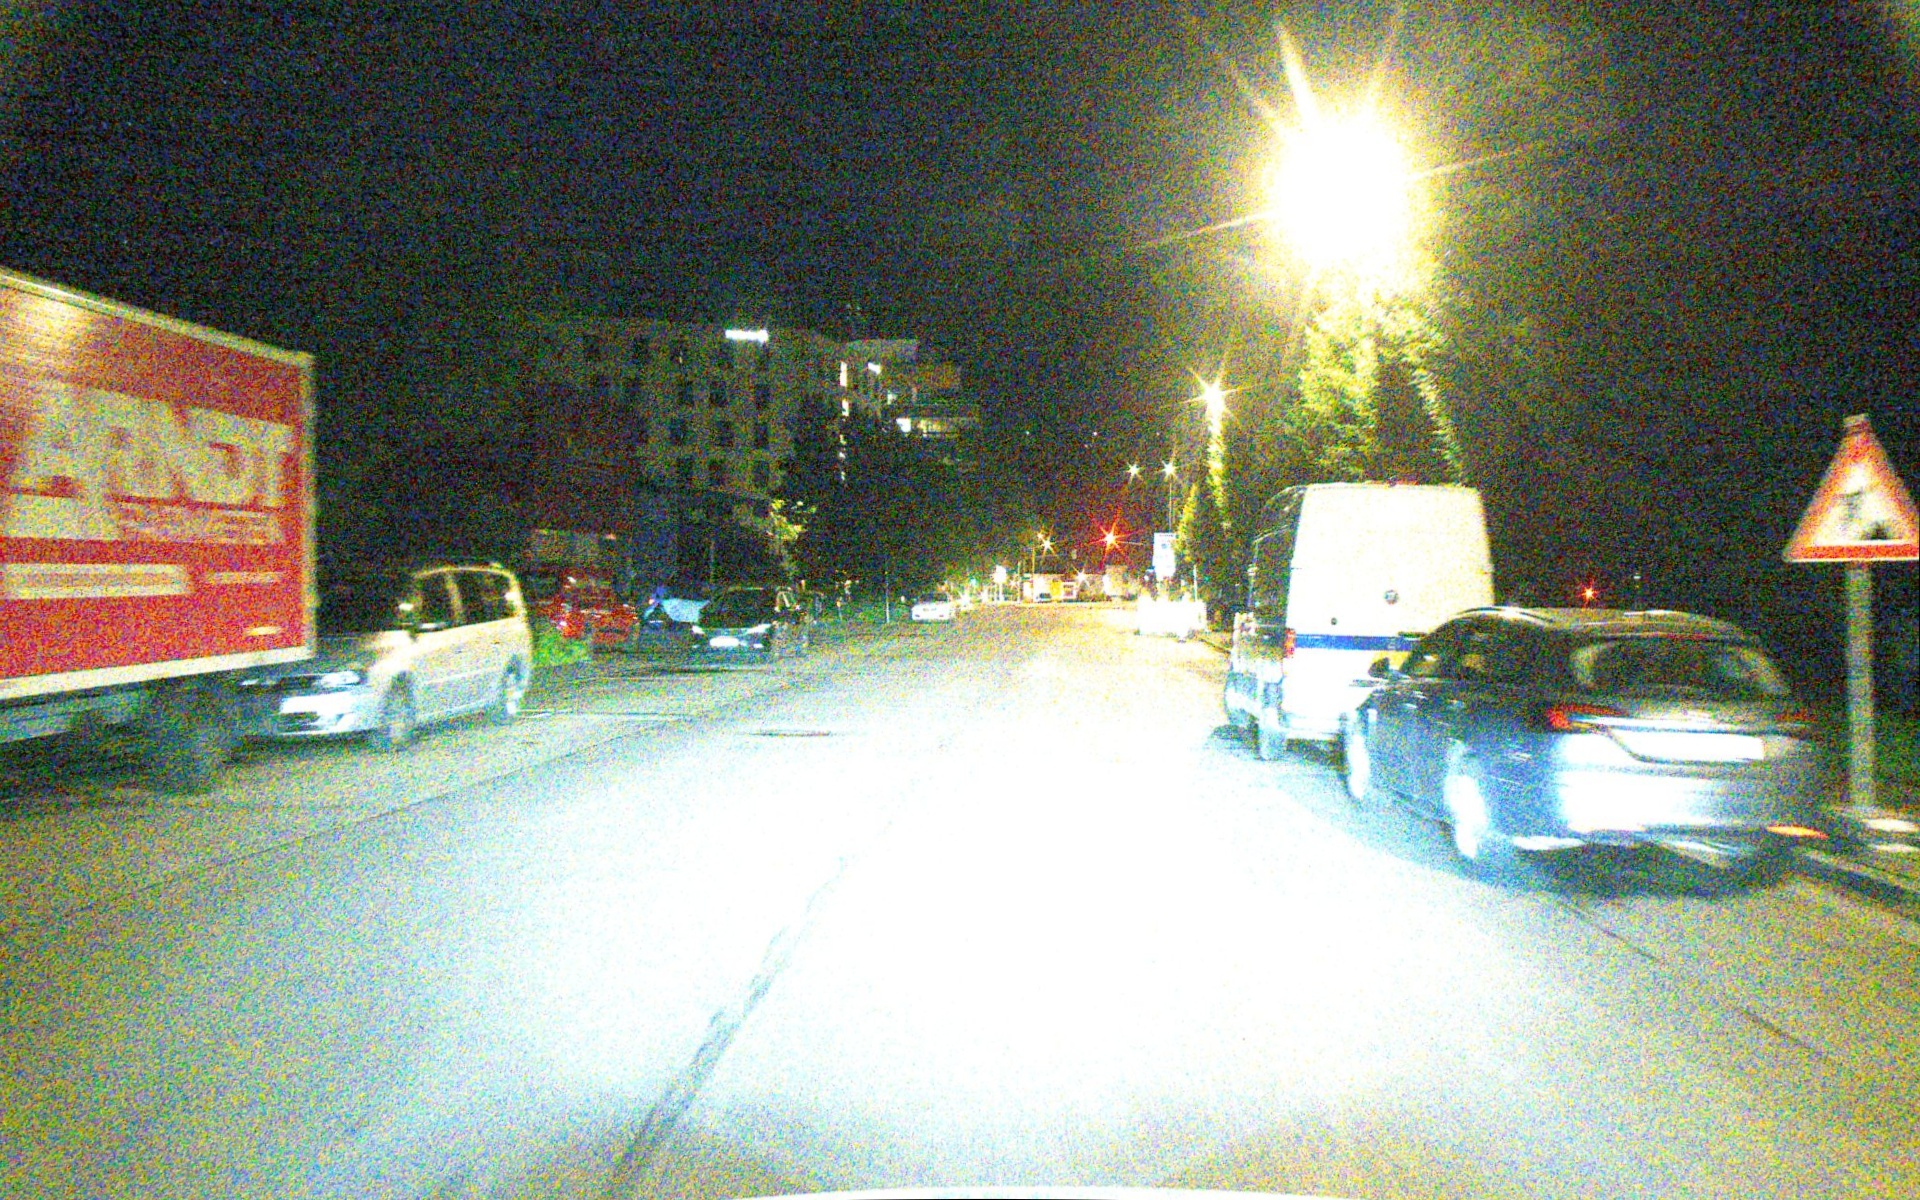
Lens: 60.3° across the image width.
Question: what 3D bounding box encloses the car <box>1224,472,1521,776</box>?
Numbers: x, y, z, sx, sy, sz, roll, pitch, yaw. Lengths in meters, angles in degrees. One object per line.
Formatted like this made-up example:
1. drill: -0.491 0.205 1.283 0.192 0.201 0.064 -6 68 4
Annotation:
1. car: 4.012 0.175 17.206 1.978 2.570 6.055 1 0 4

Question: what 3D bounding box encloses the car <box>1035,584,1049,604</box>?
1. car: 12.617 -0.949 254.931 1.953 3.026 4.000 0 0 0

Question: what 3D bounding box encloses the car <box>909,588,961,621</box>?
1. car: -1.092 0.194 74.393 1.871 1.428 4.341 0 0 6

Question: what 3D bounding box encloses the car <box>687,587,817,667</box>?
1. car: -4.298 0.531 34.809 1.718 1.553 4.325 0 0 7

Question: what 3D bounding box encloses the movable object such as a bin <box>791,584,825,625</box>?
1. movable object such as a bin: -5.717 0.152 62.215 1.140 1.522 1.066 0 0 2

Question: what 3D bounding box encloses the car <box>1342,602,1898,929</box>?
1. car: 3.711 0.798 10.283 1.675 1.534 4.641 0 0 1

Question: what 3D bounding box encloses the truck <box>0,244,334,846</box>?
1. truck: -6.536 -0.311 9.914 2.490 3.338 7.315 0 0 3

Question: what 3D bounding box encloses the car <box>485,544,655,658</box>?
1. car: -8.717 0.000 37.465 1.951 2.362 4.971 -2 0 9

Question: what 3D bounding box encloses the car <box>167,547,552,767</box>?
1. car: -5.689 0.465 16.429 1.791 1.848 4.841 -1 0 4

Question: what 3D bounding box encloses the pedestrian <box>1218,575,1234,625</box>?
1. pedestrian: 10.121 -0.018 62.954 0.558 1.885 0.820 0 0 6

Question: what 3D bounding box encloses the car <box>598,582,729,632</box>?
1. car: -9.818 0.222 54.906 3.903 1.598 1.818 -1 0 5
